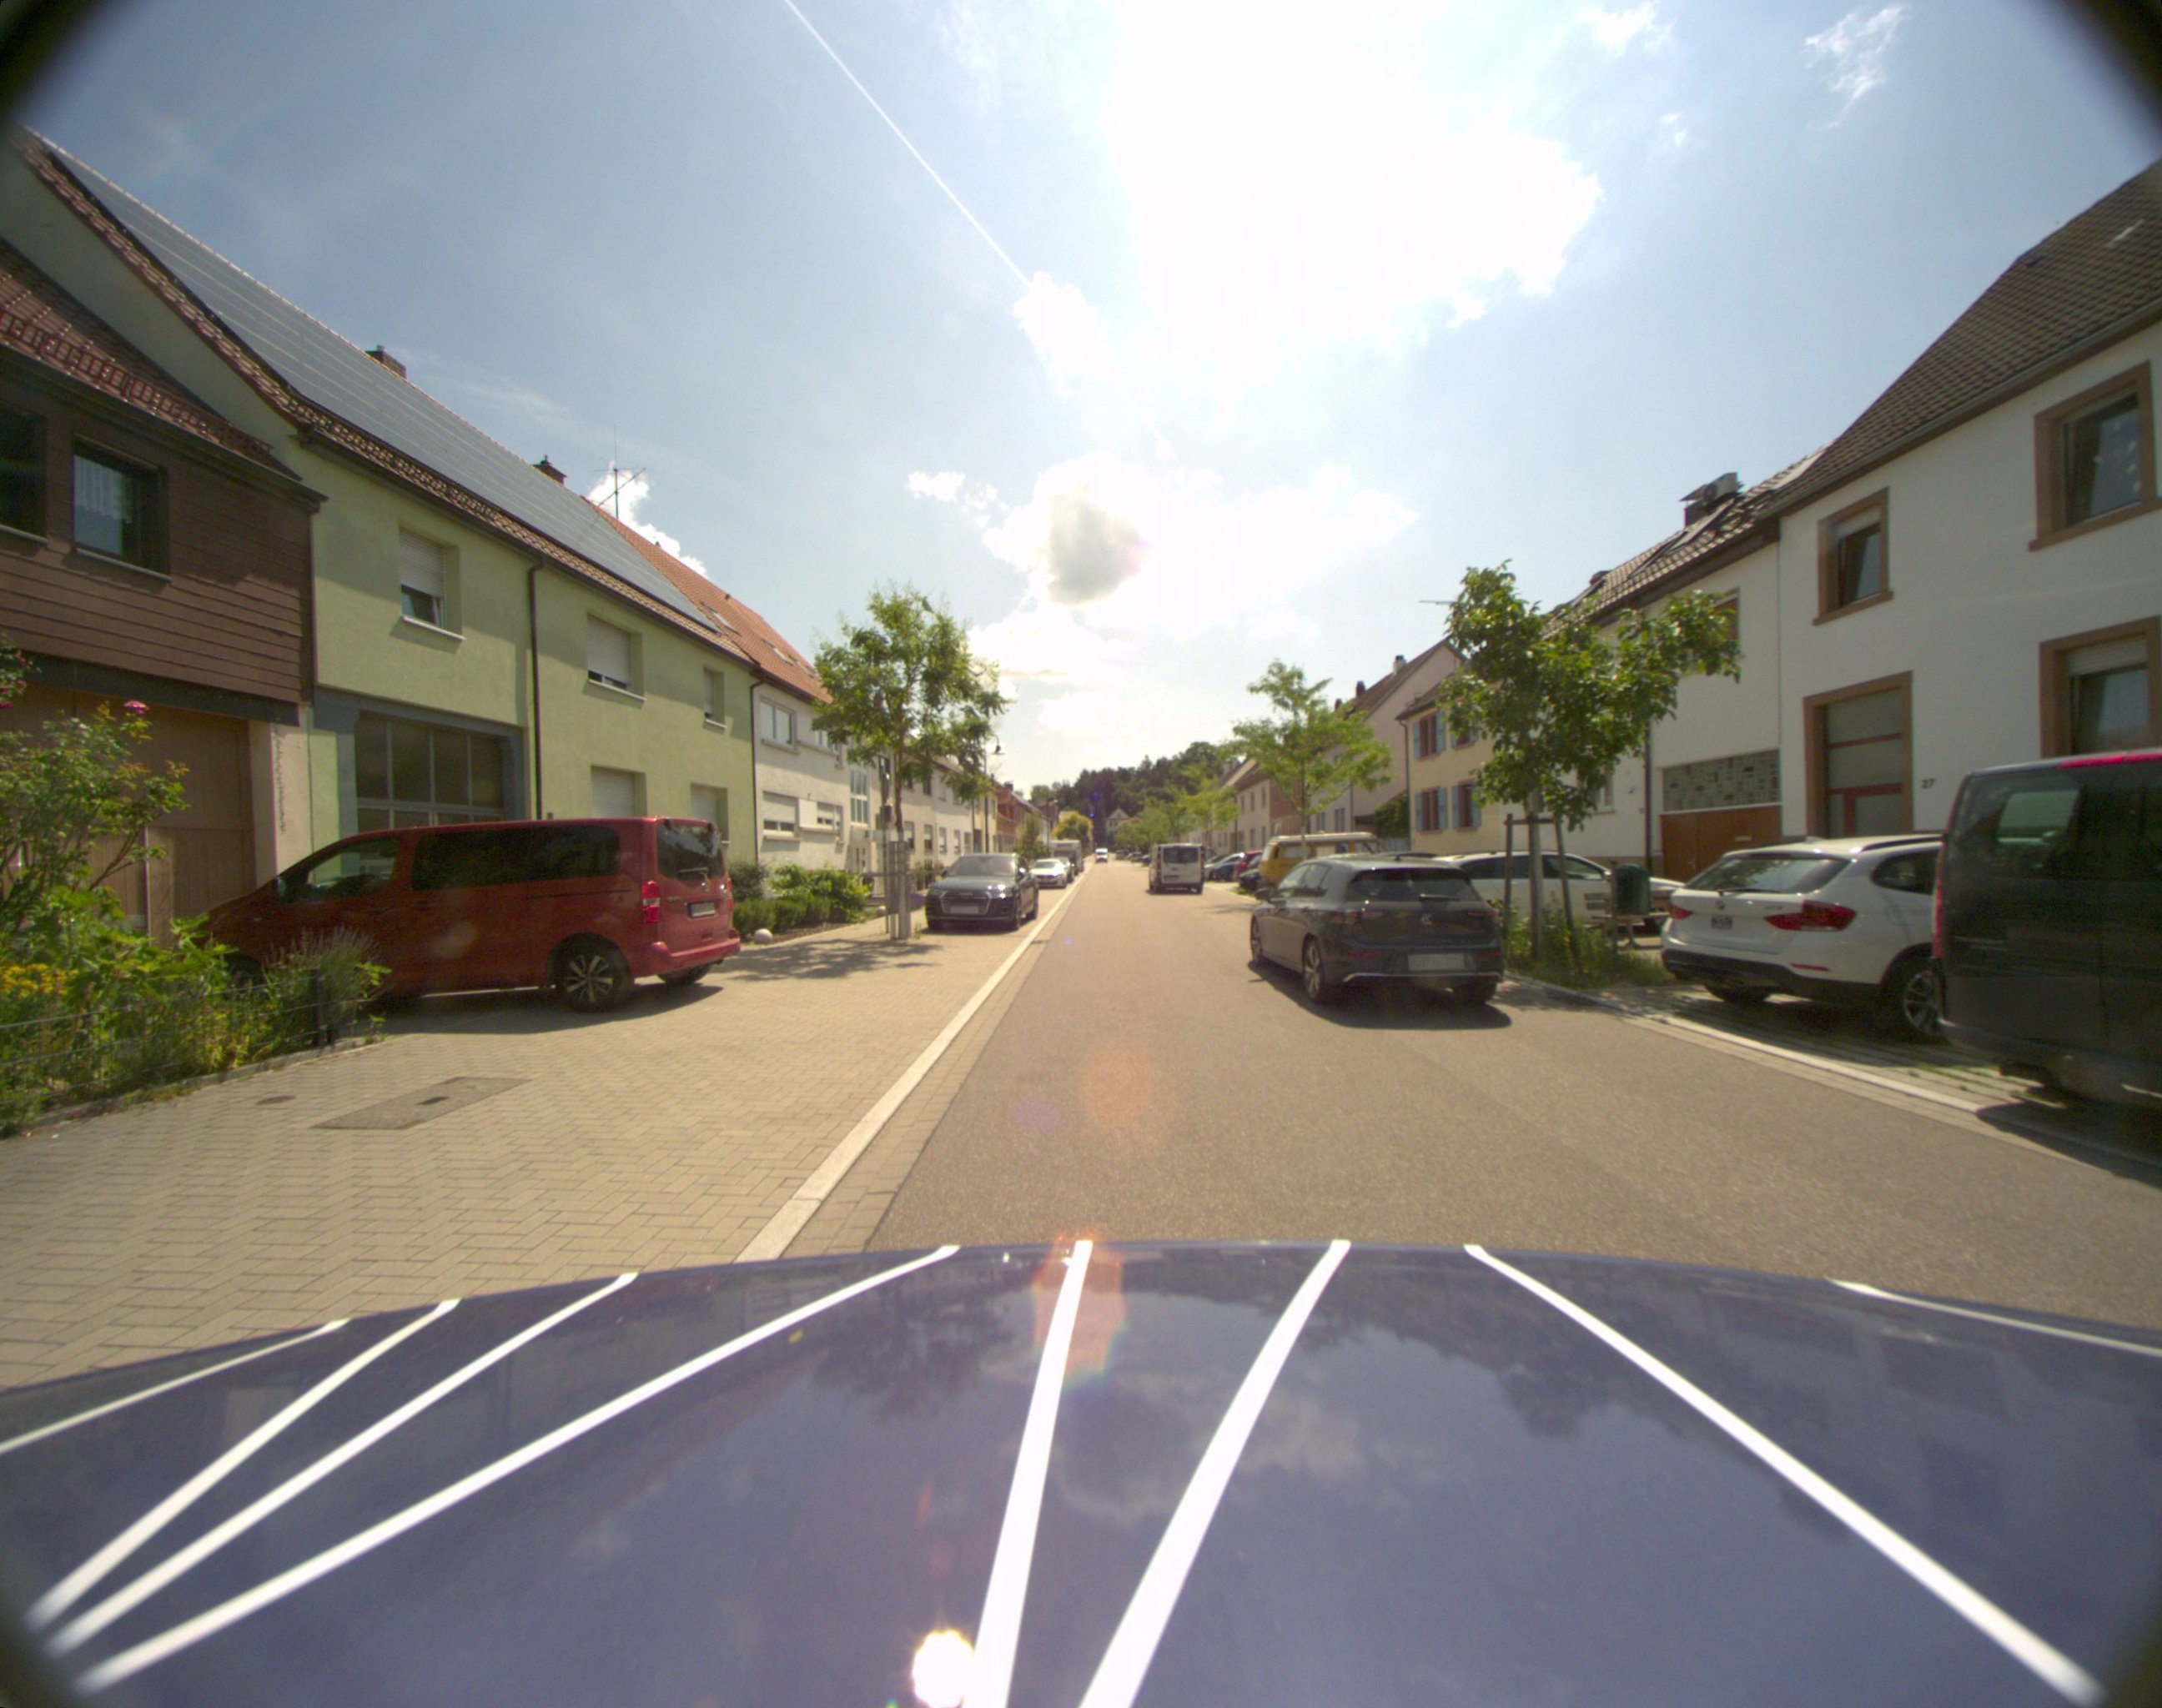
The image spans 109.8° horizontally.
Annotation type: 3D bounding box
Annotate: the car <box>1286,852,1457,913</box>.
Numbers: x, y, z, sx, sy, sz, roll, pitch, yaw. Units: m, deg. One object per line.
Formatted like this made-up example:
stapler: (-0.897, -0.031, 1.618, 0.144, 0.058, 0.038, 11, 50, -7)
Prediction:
car: (8.070, 0.770, 21.281, 4.084, 1.459, 1.752, -2, 0, -6)

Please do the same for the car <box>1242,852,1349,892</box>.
car: (8.656, 0.706, 30.895, 3.801, 1.451, 1.755, -2, 0, -1)

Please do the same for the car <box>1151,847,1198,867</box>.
car: (9.905, 0.323, 80.450, 4.688, 1.896, 2.000, -3, 1, 2)

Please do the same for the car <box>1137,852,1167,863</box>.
car: (11.044, 0.489, 118.569, 4.598, 1.508, 1.902, -2, 0, 2)

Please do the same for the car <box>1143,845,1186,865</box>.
car: (10.648, 0.141, 96.774, 5.179, 2.275, 2.157, -3, 1, 0)

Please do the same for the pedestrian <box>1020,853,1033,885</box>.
pedestrian: (-2.991, 0.807, 41.756, 0.558, 1.739, 0.673, -1, 1, 3)

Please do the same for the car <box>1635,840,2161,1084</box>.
car: (7.390, 0.758, 6.369, 4.194, 1.559, 1.773, -3, 1, -2)

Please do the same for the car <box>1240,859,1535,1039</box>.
car: (3.088, 0.840, 8.635, 1.767, 1.514, 4.049, 0, 0, 1)

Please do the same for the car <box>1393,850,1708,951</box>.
car: (7.950, 0.759, 13.197, 4.304, 1.459, 1.774, -2, 1, 4)

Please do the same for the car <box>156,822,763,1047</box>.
car: (-6.139, 0.729, 7.999, 4.630, 1.883, 2.020, -3, 1, 1)

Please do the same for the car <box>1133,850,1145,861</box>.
car: (9.950, 0.303, 130.499, 1.843, 1.737, 4.687, -3, -1, 3)

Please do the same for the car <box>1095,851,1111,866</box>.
car: (3.690, 0.764, 129.406, 2.489, 2.306, 5.599, -3, 1, 1)

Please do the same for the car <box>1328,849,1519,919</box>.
car: (8.226, 0.678, 18.430, 3.891, 1.459, 1.658, -2, 1, -6)

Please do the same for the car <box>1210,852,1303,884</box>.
car: (9.202, 0.696, 40.025, 4.415, 1.469, 1.775, -2, 0, -2)

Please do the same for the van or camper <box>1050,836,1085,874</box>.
van or camper: (-1.009, 0.081, 59.815, 2.479, 2.793, 5.791, 0, 0, 2)

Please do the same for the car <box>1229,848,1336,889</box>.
car: (8.902, 0.613, 33.793, 4.263, 1.602, 1.843, -2, 0, 1)

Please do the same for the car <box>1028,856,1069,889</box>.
car: (-1.550, 0.878, 37.693, 1.837, 1.457, 4.519, -2, 0, 0)

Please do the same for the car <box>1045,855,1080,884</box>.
car: (-1.053, 0.879, 44.976, 1.771, 1.520, 4.007, -1, 0, 2)

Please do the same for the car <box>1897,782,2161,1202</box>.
car: (7.245, 0.518, 3.529, 4.711, 1.912, 1.938, -3, 1, 2)

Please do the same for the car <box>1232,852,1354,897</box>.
car: (7.790, 0.751, 28.211, 4.019, 1.451, 1.755, -2, 0, 2)

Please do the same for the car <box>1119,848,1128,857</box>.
car: (9.756, -0.280, 174.893, 1.998, 1.968, 3.999, -1, 1, 1)

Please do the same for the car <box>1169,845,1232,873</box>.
car: (9.289, 0.358, 59.262, 4.623, 1.984, 1.953, -2, 0, 4)

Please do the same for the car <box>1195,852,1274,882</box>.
car: (8.639, 0.730, 42.969, 4.064, 1.469, 1.775, -2, 0, -1)

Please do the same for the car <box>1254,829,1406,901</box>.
car: (8.364, 0.361, 25.835, 4.519, 2.164, 1.925, -2, 1, 2)

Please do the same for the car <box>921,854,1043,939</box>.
car: (-2.070, 0.837, 17.236, 1.868, 1.626, 4.447, 1, 0, 4)

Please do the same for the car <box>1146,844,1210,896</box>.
car: (3.893, 0.579, 31.265, 2.027, 1.939, 4.898, -1, 1, 1)
